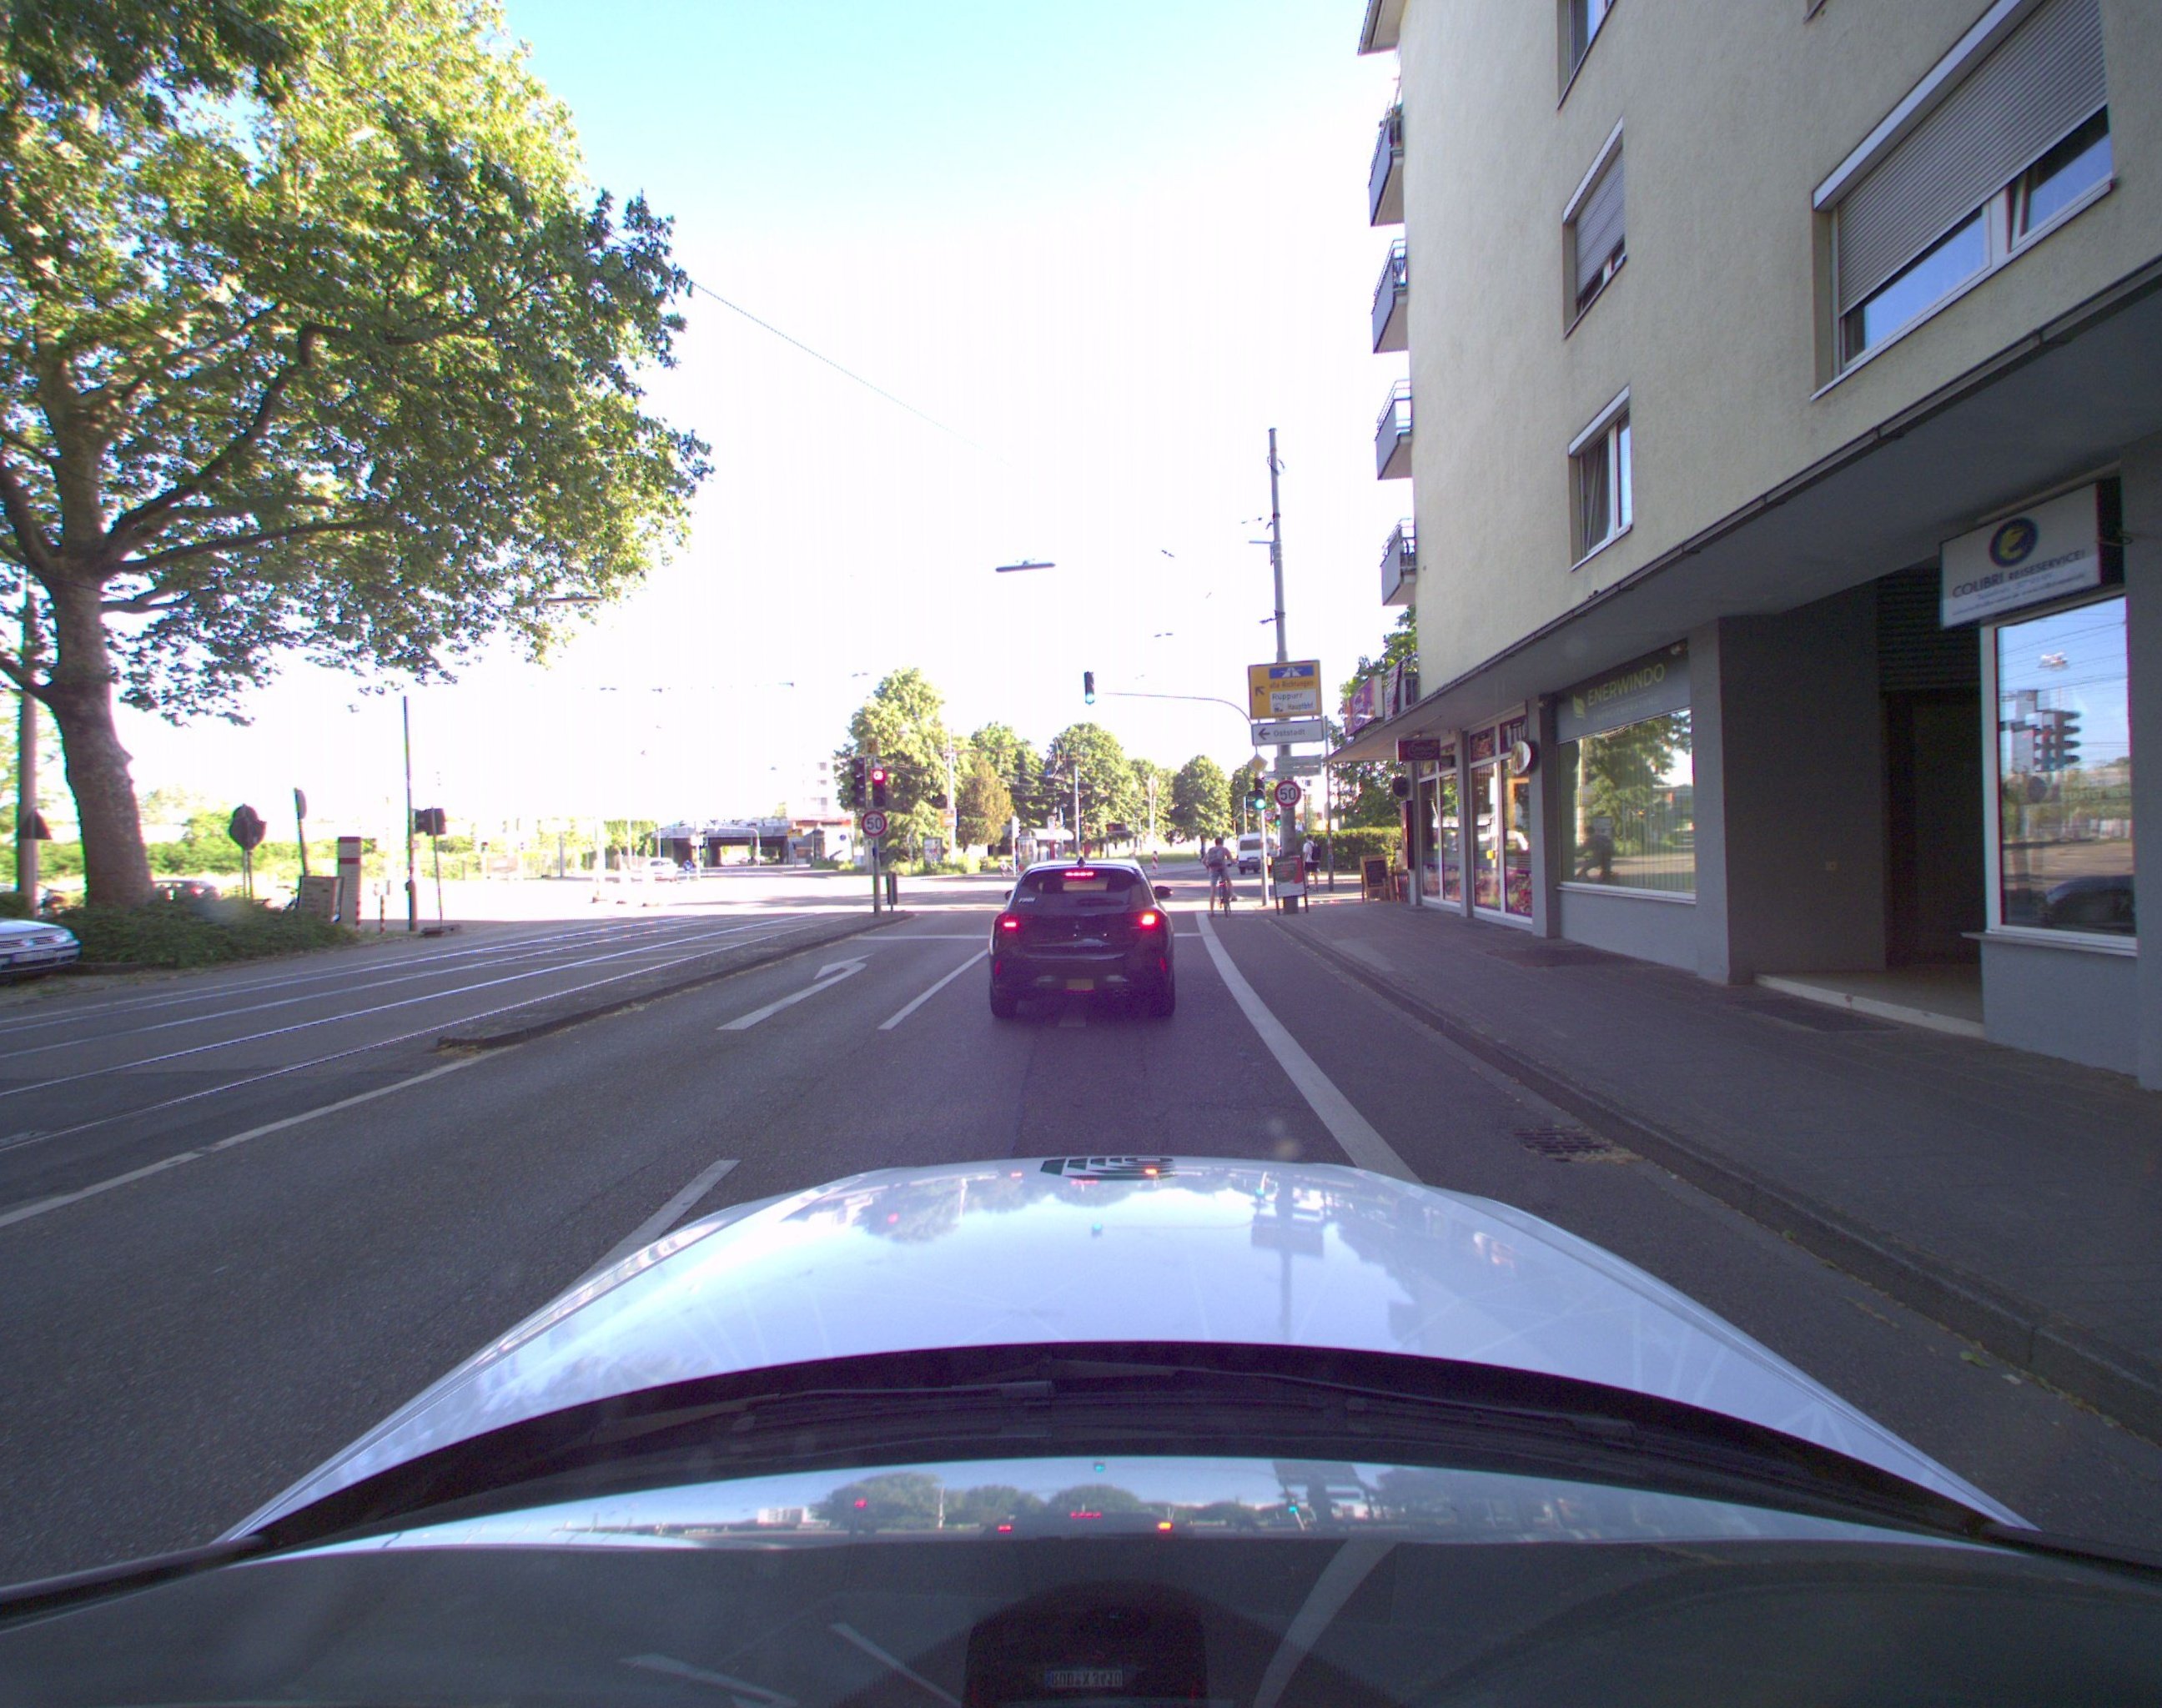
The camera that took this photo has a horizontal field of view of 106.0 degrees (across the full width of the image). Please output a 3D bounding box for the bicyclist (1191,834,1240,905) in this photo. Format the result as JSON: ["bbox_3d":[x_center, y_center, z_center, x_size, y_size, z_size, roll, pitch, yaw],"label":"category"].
[{"bbox_3d":[2.998,0.339,18.236,0.837,1.510,1.368,-2,0,0],"label":"bicyclist"}]

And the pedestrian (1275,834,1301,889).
[{"bbox_3d":[6.839,0.242,26.923,0.696,1.792,0.617,-2,0,1],"label":"pedestrian"}]

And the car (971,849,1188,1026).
[{"bbox_3d":[0.100,0.699,8.842,1.793,1.441,3.943,-2,0,3],"label":"car"}]

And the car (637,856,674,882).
[{"bbox_3d":[-29.181,0.999,55.922,2.003,1.631,4.592,-2,0,-25],"label":"car"}]

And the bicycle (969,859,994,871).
[{"bbox_3d":[-7.933,0.849,65.192,1.866,0.906,0.661,-2,0,8],"label":"bicycle"}]

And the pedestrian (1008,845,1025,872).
[{"bbox_3d":[-4.058,0.283,51.152,0.718,1.693,0.705,-2,0,37],"label":"pedestrian"}]

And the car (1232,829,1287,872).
[{"bbox_3d":[10.137,-0.160,45.958,2.070,2.277,4.331,-1,-1,26],"label":"car"}]

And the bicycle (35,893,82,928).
[{"bbox_3d":[-25.051,1.379,19.966,0.360,0.759,1.759,-2,0,-40],"label":"bicycle"}]

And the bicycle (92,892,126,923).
[{"bbox_3d":[-26.251,1.433,21.990,1.757,0.759,0.360,-1,0,32],"label":"bicycle"}]

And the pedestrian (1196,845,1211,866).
[{"bbox_3d":[10.868,0.130,72.177,0.949,1.793,1.002,-2,0,27],"label":"pedestrian"}]

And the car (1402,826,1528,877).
[{"bbox_3d":[15.106,-0.049,32.234,4.150,1.814,1.811,-2,-3,10],"label":"car"}]

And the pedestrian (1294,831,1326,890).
[{"bbox_3d":[7.347,0.204,26.148,0.696,1.846,0.705,-2,0,41],"label":"pedestrian"}]

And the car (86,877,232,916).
[{"bbox_3d":[-43.097,1.951,38.196,4.006,1.419,1.880,-1,6,-25],"label":"car"}]

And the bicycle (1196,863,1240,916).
[{"bbox_3d":[3.035,0.765,18.205,0.665,1.059,2.083,-2,0,2],"label":"bicycle"}]

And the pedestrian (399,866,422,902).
[{"bbox_3d":[-29.745,1.330,36.139,0.602,1.596,0.679,0,-1,-24],"label":"pedestrian"}]

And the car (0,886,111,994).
[{"bbox_3d":[-16.676,1.204,11.348,3.980,1.417,1.701,0,-1,-5],"label":"car"}]

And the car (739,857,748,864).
[{"bbox_3d":[-88.619,1.704,213.629,2.003,2.014,3.967,0,-1,-25],"label":"car"}]

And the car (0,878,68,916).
[{"bbox_3d":[-48.405,1.932,36.027,4.006,1.419,1.880,-1,6,-25],"label":"car"}]

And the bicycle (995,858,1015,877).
[{"bbox_3d":[-4.370,0.763,46.903,0.821,1.059,1.885,-2,0,4],"label":"bicycle"}]

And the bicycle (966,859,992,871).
[{"bbox_3d":[-8.060,0.884,64.210,1.866,0.906,0.661,-2,0,8],"label":"bicycle"}]

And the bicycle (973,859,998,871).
[{"bbox_3d":[-7.756,0.864,66.060,1.866,0.906,0.661,-2,0,8],"label":"bicycle"}]
